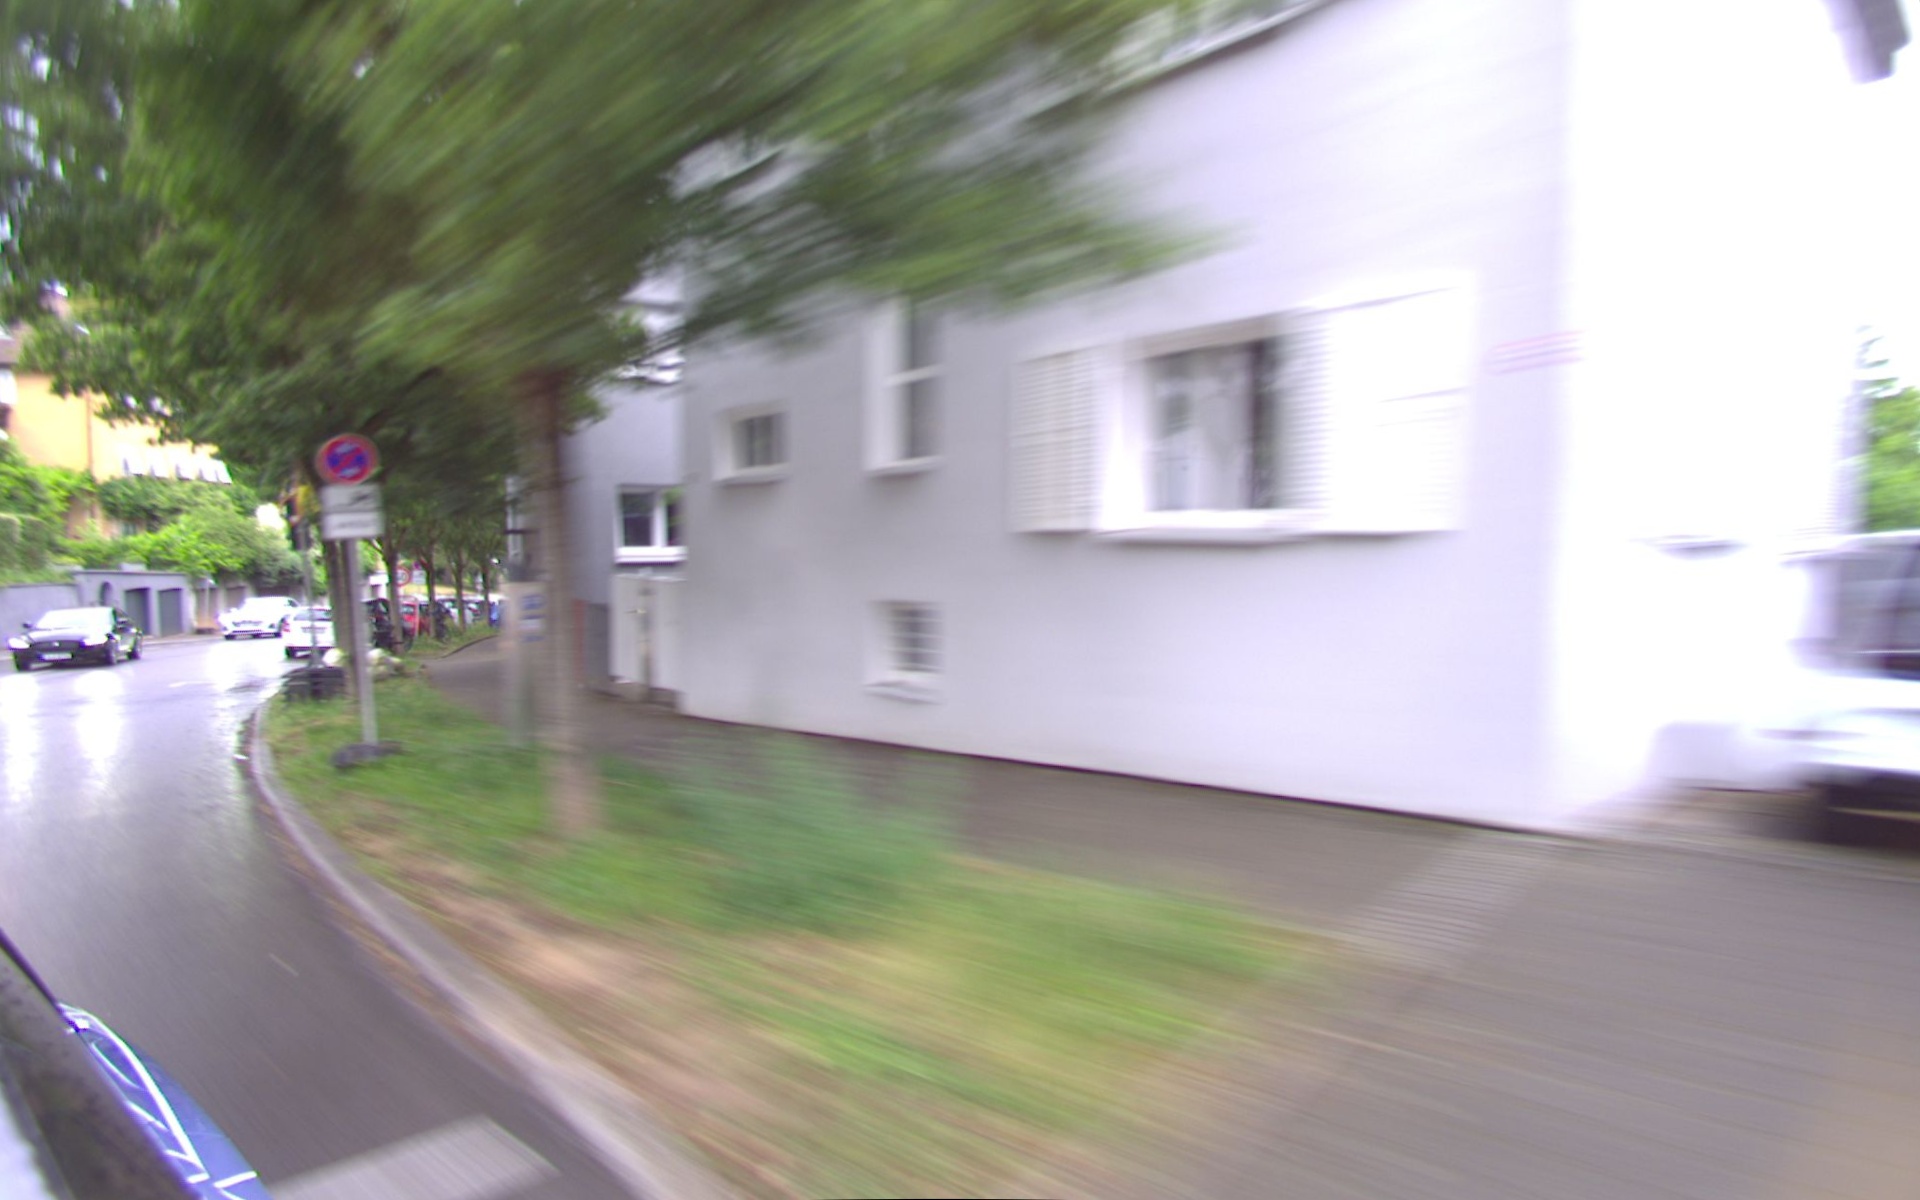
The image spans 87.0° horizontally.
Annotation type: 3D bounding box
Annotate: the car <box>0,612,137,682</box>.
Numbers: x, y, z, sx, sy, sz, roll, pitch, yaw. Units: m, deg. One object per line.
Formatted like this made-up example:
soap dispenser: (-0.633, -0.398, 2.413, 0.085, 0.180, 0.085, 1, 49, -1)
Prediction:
car: (-21.661, 1.087, 24.728, 1.778, 1.500, 4.029, -2, 0, -31)

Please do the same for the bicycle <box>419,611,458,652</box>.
bicycle: (-17.234, 1.019, 33.507, 0.610, 1.261, 1.910, -1, 0, -10)

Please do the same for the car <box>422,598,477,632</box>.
car: (-24.314, 0.698, 48.285, 1.534, 1.522, 3.392, 2, 0, -13)

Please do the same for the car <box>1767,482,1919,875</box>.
car: (5.506, 0.287, 5.179, 1.751, 1.573, 3.942, 0, 1, 45)

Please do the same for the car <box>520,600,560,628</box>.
car: (-28.465, 0.941, 68.714, 1.597, 1.671, 3.932, 3, 0, -10)

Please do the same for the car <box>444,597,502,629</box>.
car: (-25.511, 0.658, 53.147, 1.642, 1.499, 4.486, 3, 1, -12)

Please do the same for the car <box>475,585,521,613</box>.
car: (-26.465, -0.042, 58.077, 1.553, 1.500, 3.477, 3, -1, -11)

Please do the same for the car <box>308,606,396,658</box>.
car: (-20.465, 1.029, 34.235, 1.658, 1.621, 4.591, 0, 0, -20)

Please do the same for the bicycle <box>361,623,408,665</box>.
bicycle: (-15.658, 1.169, 27.563, 0.430, 1.037, 1.909, -1, 0, -8)

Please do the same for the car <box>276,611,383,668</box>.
car: (-18.442, 1.105, 29.800, 1.658, 1.520, 4.329, 1, 0, -18)

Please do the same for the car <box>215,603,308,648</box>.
car: (-28.252, 1.004, 41.112, 1.979, 1.674, 4.460, 1, 0, -19)
